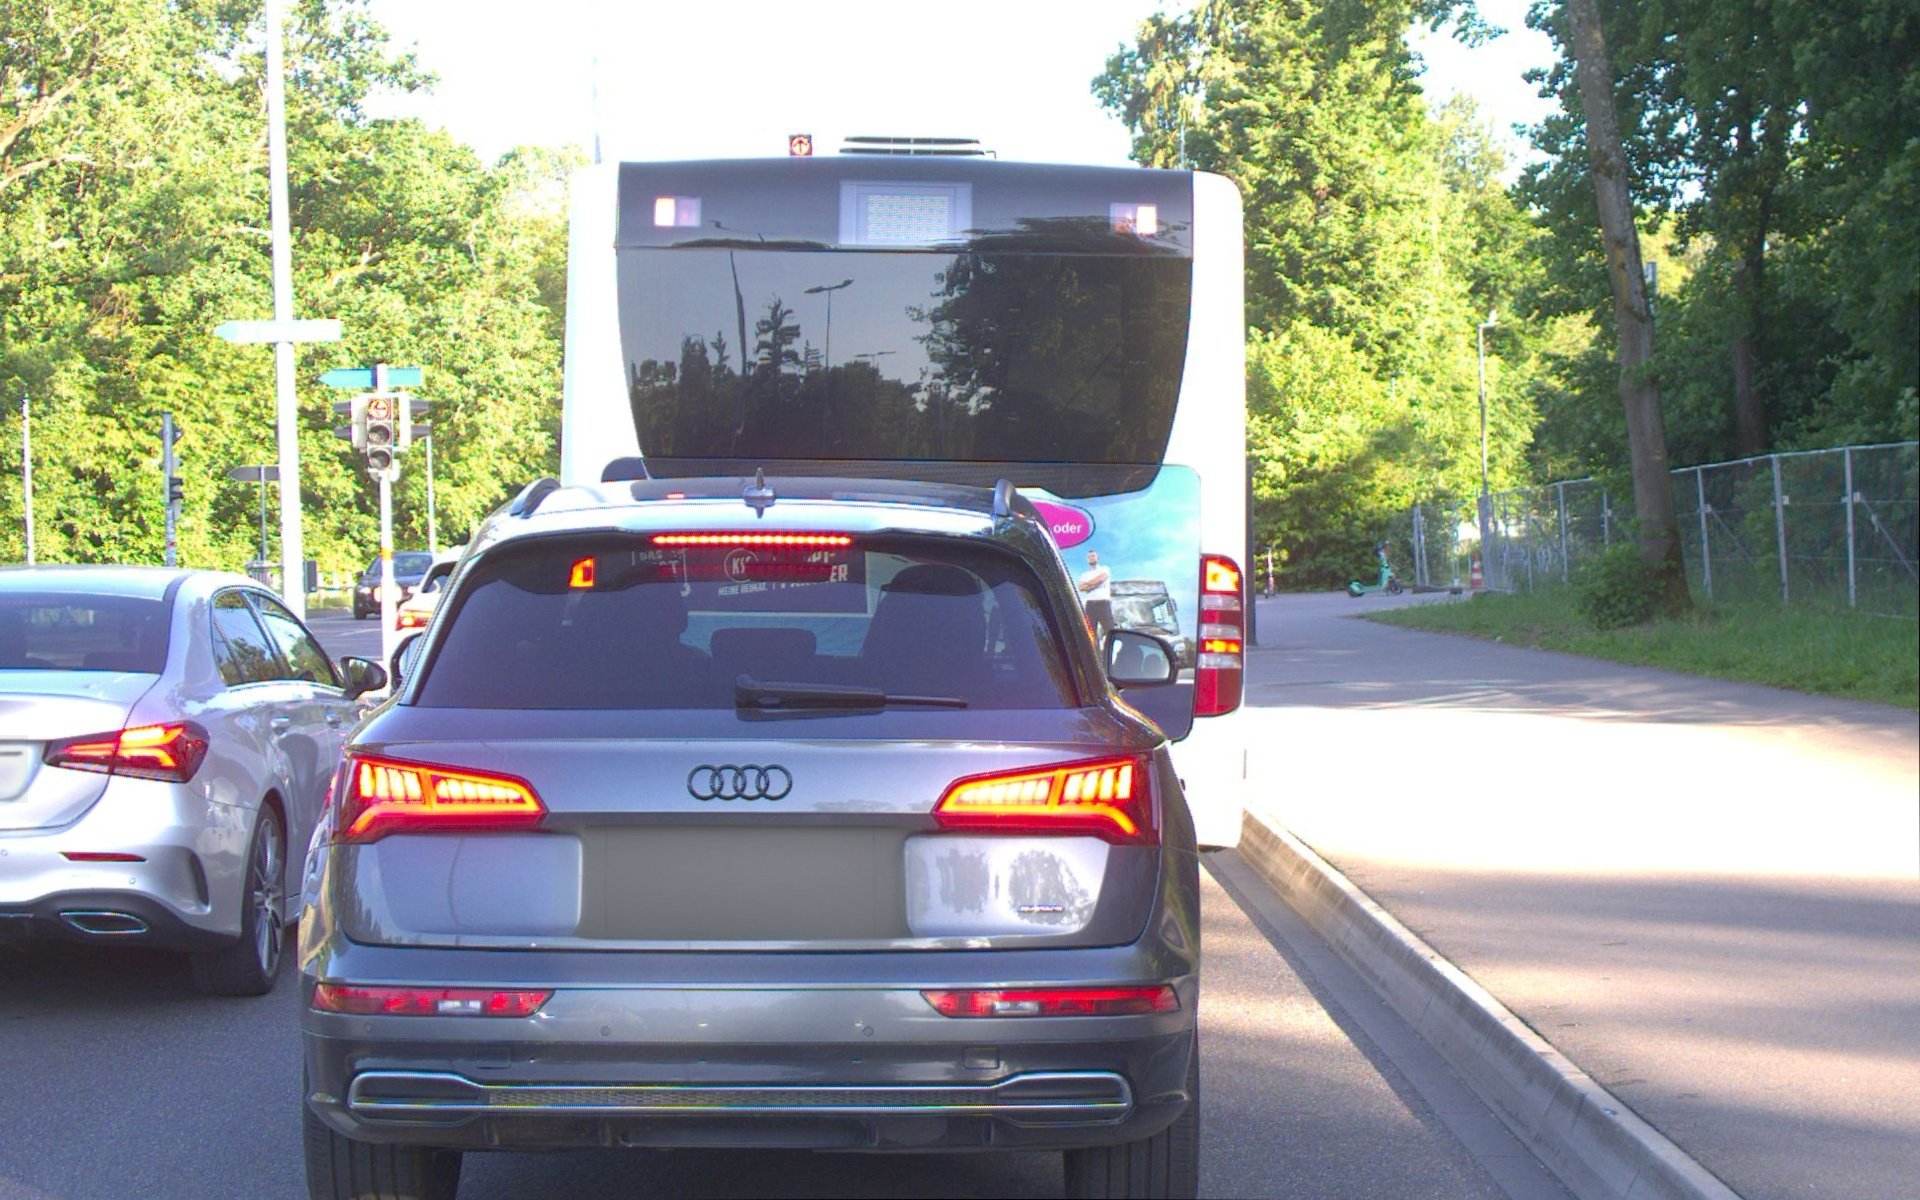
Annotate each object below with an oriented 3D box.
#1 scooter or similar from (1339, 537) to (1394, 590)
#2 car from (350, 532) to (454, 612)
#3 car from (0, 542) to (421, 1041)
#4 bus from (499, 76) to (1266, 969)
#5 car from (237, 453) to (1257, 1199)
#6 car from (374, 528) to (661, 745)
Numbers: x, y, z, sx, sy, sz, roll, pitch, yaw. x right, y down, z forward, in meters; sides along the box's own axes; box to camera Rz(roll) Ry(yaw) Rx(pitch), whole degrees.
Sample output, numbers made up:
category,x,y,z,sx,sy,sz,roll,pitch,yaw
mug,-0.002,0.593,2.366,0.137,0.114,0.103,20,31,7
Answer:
category,x,y,z,sx,sy,sz,roll,pitch,yaw
scooter or similar,9.213,-0.829,77.958,1.184,1.170,0.659,1,1,11
car,-12.220,-0.625,75.471,1.993,1.656,4.001,-2,1,-6
car,-3.162,0.543,12.503,1.785,1.439,4.278,1,2,-1
bus,-0.247,-0.354,15.133,2.678,3.131,5.882,1,2,1
car,-0.420,0.516,8.357,1.868,1.658,4.000,1,2,-1
car,-3.461,0.230,27.528,1.808,1.567,4.000,1,2,-1
